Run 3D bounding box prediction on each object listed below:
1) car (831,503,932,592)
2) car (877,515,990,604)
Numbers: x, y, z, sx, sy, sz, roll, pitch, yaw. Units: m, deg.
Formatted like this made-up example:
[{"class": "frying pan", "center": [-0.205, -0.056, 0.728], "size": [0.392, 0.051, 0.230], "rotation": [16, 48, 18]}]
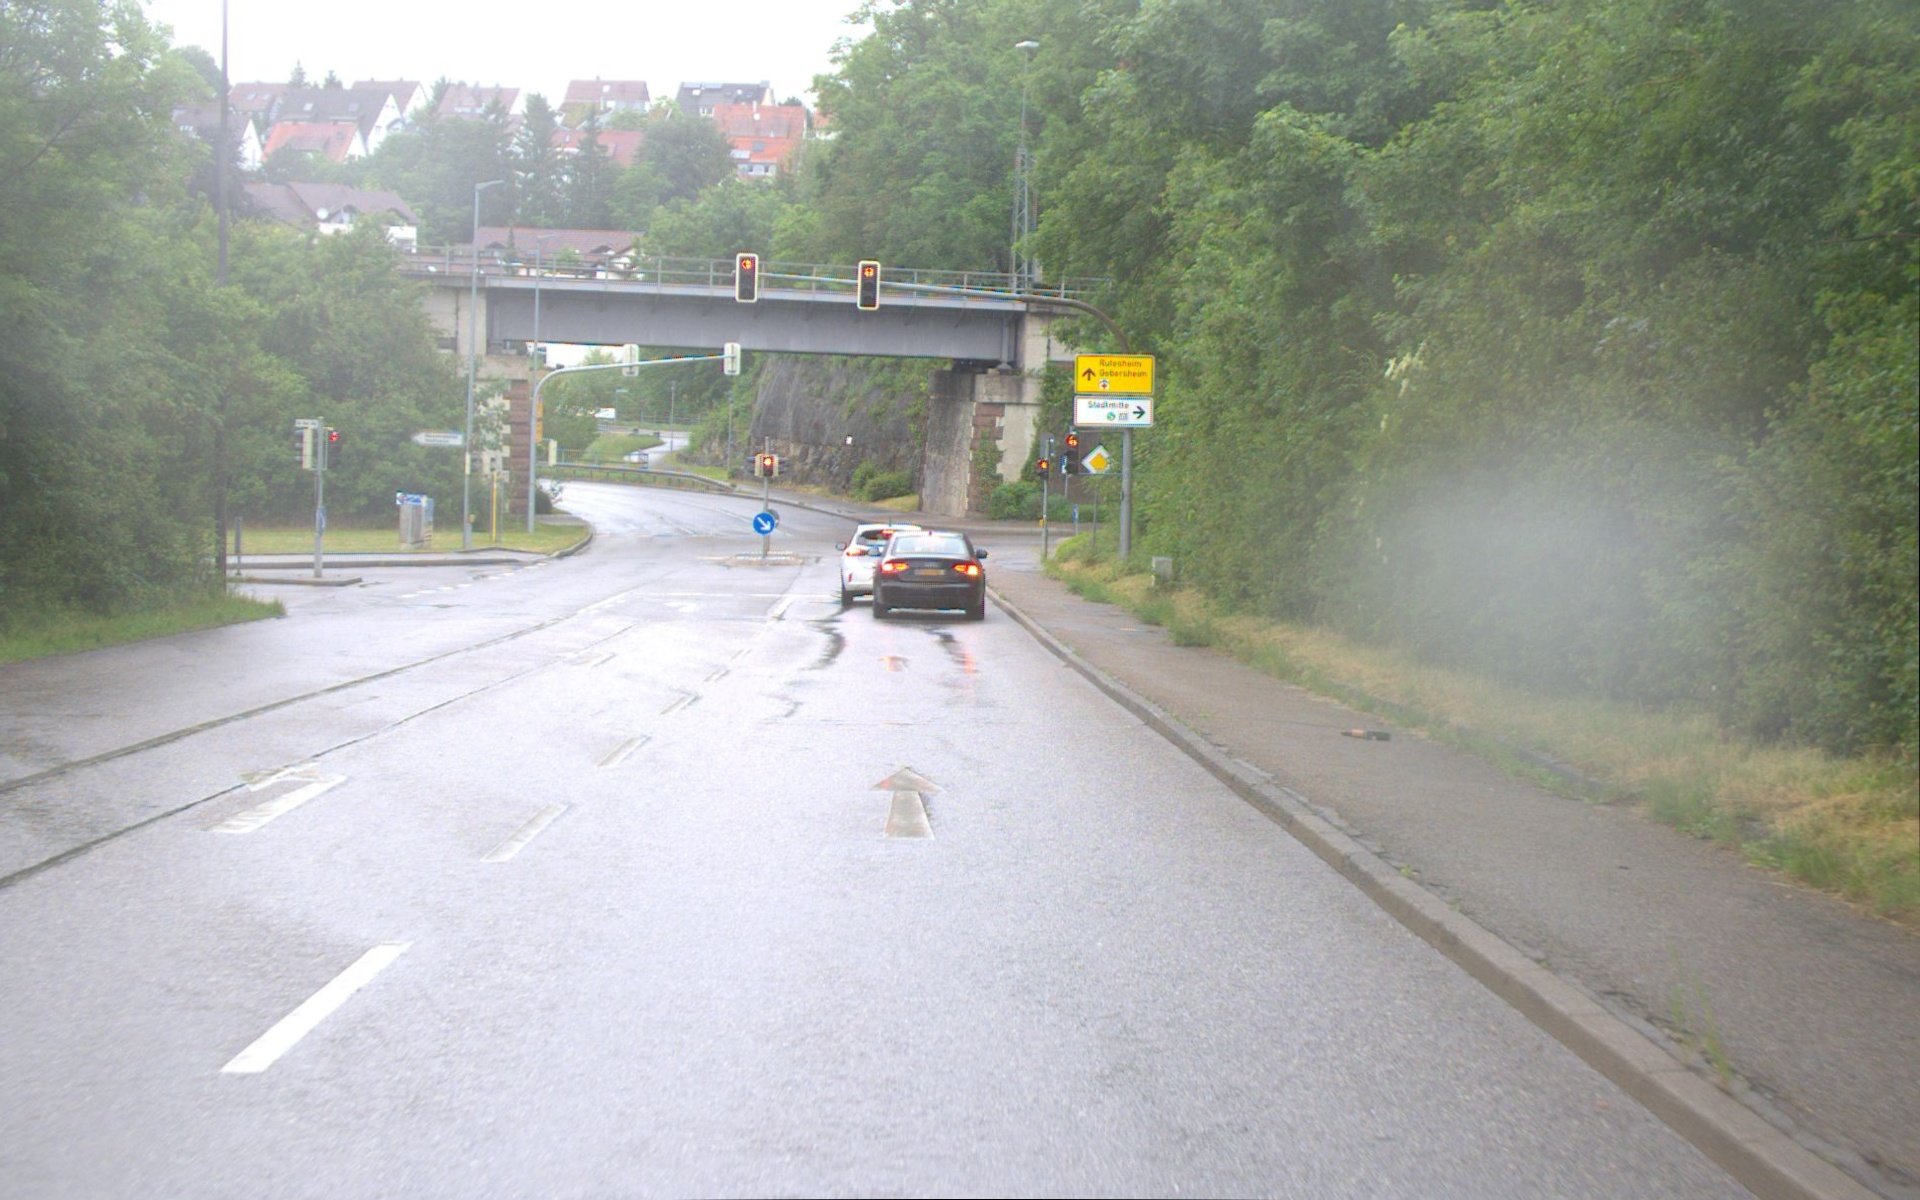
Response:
[{"class": "car", "center": [-1.397, -0.963, 62.244], "size": [1.768, 1.557, 4.000], "rotation": [0, 1, 0]}, {"class": "car", "center": [-0.428, -0.668, 55.513], "size": [1.768, 1.375, 4.000], "rotation": [0, 1, 0]}]
